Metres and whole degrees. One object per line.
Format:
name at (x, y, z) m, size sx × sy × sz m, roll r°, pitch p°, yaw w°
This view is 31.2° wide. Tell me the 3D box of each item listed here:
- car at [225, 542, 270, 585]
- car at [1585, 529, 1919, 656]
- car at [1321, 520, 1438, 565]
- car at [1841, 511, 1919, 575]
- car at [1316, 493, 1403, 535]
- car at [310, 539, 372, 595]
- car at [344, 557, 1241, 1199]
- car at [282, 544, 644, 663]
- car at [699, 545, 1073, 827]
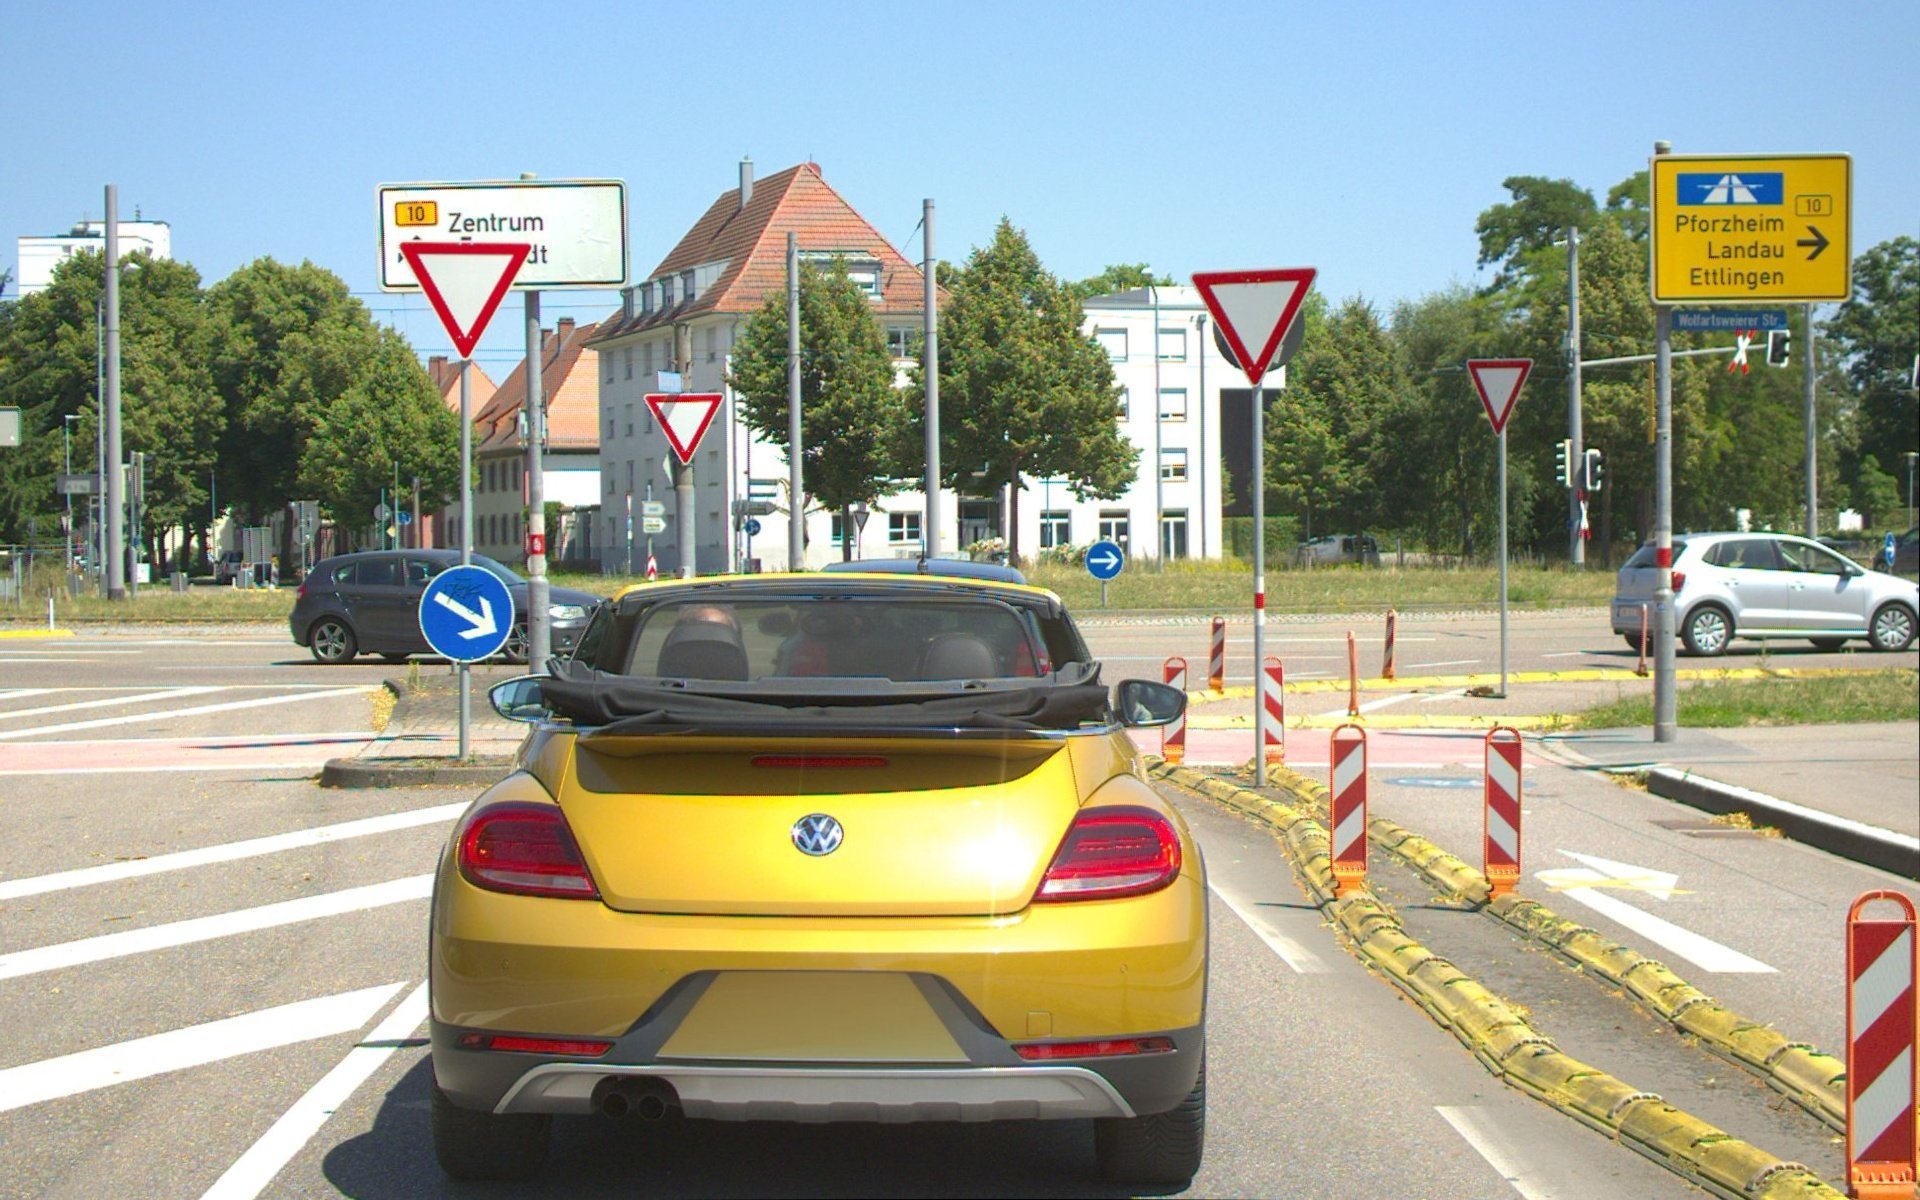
car at (-34.486, -1.774, 166.265) m, size 1.993 × 2.007 × 4.001 m, roll 1°, pitch 1°, yaw -13°
car at (9.690, -0.113, 41.079) m, size 3.986 × 1.417 × 1.783 m, roll -1°, pitch 1°, yaw -15°
car at (16.086, -2.193, 131.839) m, size 3.986 × 1.678 × 2.001 m, roll 1°, pitch 0°, yaw -13°
car at (22.442, -1.290, 78.944) m, size 1.993 × 1.459 × 4.000 m, roll 0°, pitch 1°, yaw -32°
car at (19.607, -4.228, 168.784) m, size 3.990 × 2.007 × 1.999 m, roll 1°, pitch 0°, yaw 15°
car at (-22.736, -1.223, 126.130) m, size 1.993 × 2.007 × 4.001 m, roll 1°, pitch 1°, yaw -13°
car at (-0.363, 0.611, 8.856) m, size 1.825 × 1.398 × 3.662 m, roll 0°, pitch 1°, yaw -1°
car at (-6.166, 0.038, 42.708) m, size 4.070 × 1.398 × 1.752 m, roll 0°, pitch 2°, yaw 17°
car at (-0.339, 0.434, 20.560) m, size 1.797 × 1.435 × 4.000 m, roll 0°, pitch 2°, yaw 5°
